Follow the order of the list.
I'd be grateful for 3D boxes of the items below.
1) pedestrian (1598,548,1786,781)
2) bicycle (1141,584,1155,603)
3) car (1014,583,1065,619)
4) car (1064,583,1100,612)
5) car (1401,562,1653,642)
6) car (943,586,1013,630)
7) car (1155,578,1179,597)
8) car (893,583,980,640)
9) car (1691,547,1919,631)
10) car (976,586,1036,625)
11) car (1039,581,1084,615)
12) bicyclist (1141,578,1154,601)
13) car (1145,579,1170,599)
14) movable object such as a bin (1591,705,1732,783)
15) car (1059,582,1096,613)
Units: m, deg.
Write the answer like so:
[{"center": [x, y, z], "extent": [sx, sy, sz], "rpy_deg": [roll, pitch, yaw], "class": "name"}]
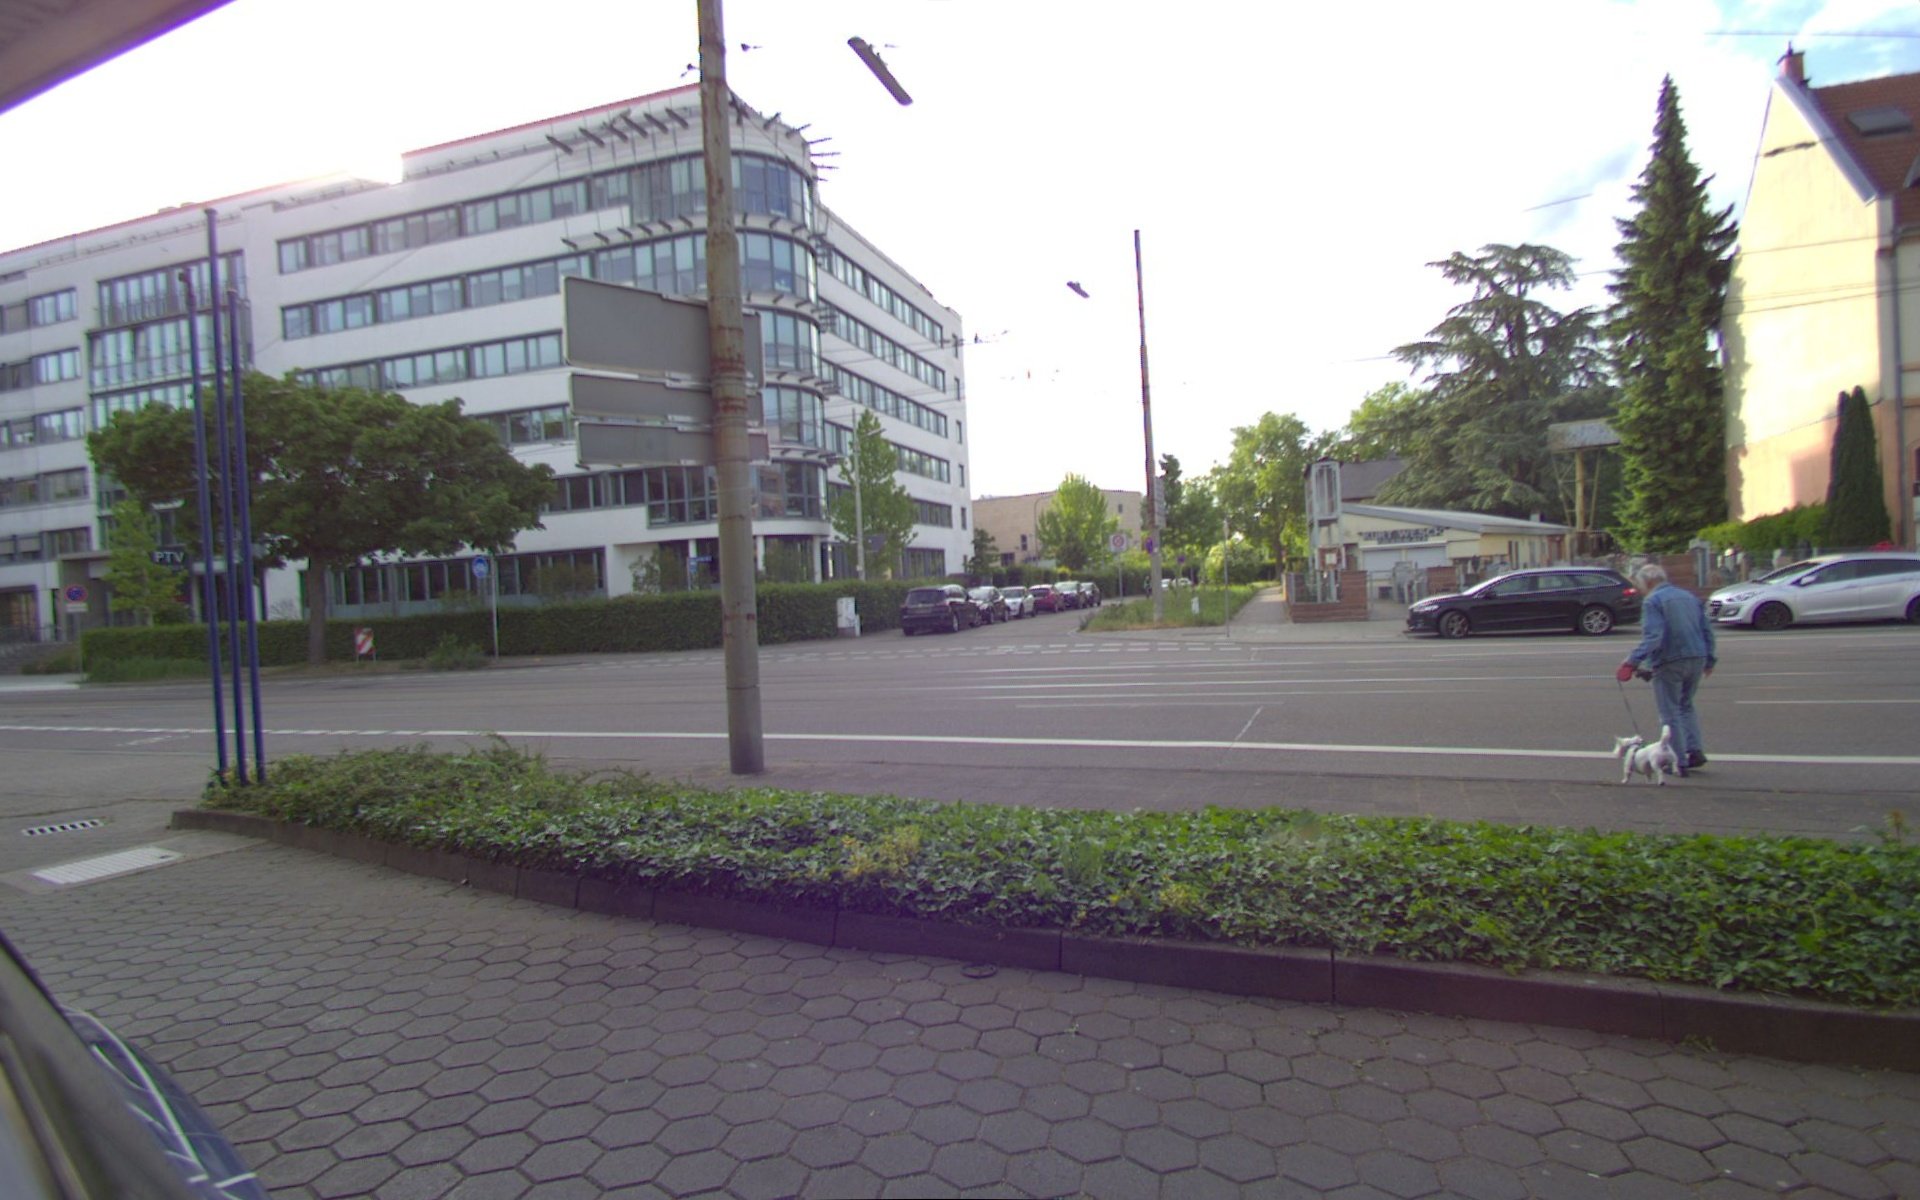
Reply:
[{"center": [5.729, 0.474, 8.006], "extent": [0.999, 1.680, 0.962], "rpy_deg": [-4, 1, 29], "class": "pedestrian"}, {"center": [13.888, -0.485, 74.781], "extent": [0.858, 1.320, 1.911], "rpy_deg": [-3, 3, 15], "class": "bicycle"}, {"center": [4.173, 0.018, 52.494], "extent": [1.929, 1.650, 4.274], "rpy_deg": [-3, 0, 13], "class": "car"}, {"center": [8.089, -0.177, 66.758], "extent": [1.845, 1.748, 4.256], "rpy_deg": [-3, 0, 13], "class": "car"}, {"center": [12.908, 0.050, 23.445], "extent": [4.742, 1.511, 2.001], "rpy_deg": [-3, 1, 21], "class": "car"}, {"center": [0.791, 0.287, 40.977], "extent": [1.929, 1.551, 4.274], "rpy_deg": [-3, 0, 13], "class": "car"}, {"center": [21.689, -1.344, 106.163], "extent": [1.849, 1.748, 4.246], "rpy_deg": [-3, 1, 19], "class": "car"}, {"center": [-0.729, 0.357, 35.418], "extent": [1.994, 1.704, 4.274], "rpy_deg": [-3, 1, 13], "class": "car"}, {"center": [18.418, -0.250, 21.383], "extent": [4.424, 1.494, 1.713], "rpy_deg": [-3, 1, 21], "class": "car"}, {"center": [2.139, 0.210, 45.788], "extent": [1.929, 1.530, 4.274], "rpy_deg": [-3, 0, 13], "class": "car"}, {"center": [5.832, -0.155, 57.723], "extent": [1.929, 1.748, 4.512], "rpy_deg": [-3, 0, 13], "class": "car"}, {"center": [13.844, -0.806, 74.683], "extent": [0.858, 1.617, 1.024], "rpy_deg": [-3, 3, 15], "class": "bicyclist"}, {"center": [19.697, -1.093, 100.793], "extent": [1.849, 1.748, 4.247], "rpy_deg": [-3, 1, 19], "class": "car"}, {"center": [5.131, 1.041, 7.425], "extent": [0.473, 0.424, 0.682], "rpy_deg": [-5, 2, -18], "class": "movable object such as a bin"}, {"center": [7.286, -0.166, 62.497], "extent": [1.731, 1.748, 4.030], "rpy_deg": [-3, 0, 13], "class": "car"}]
